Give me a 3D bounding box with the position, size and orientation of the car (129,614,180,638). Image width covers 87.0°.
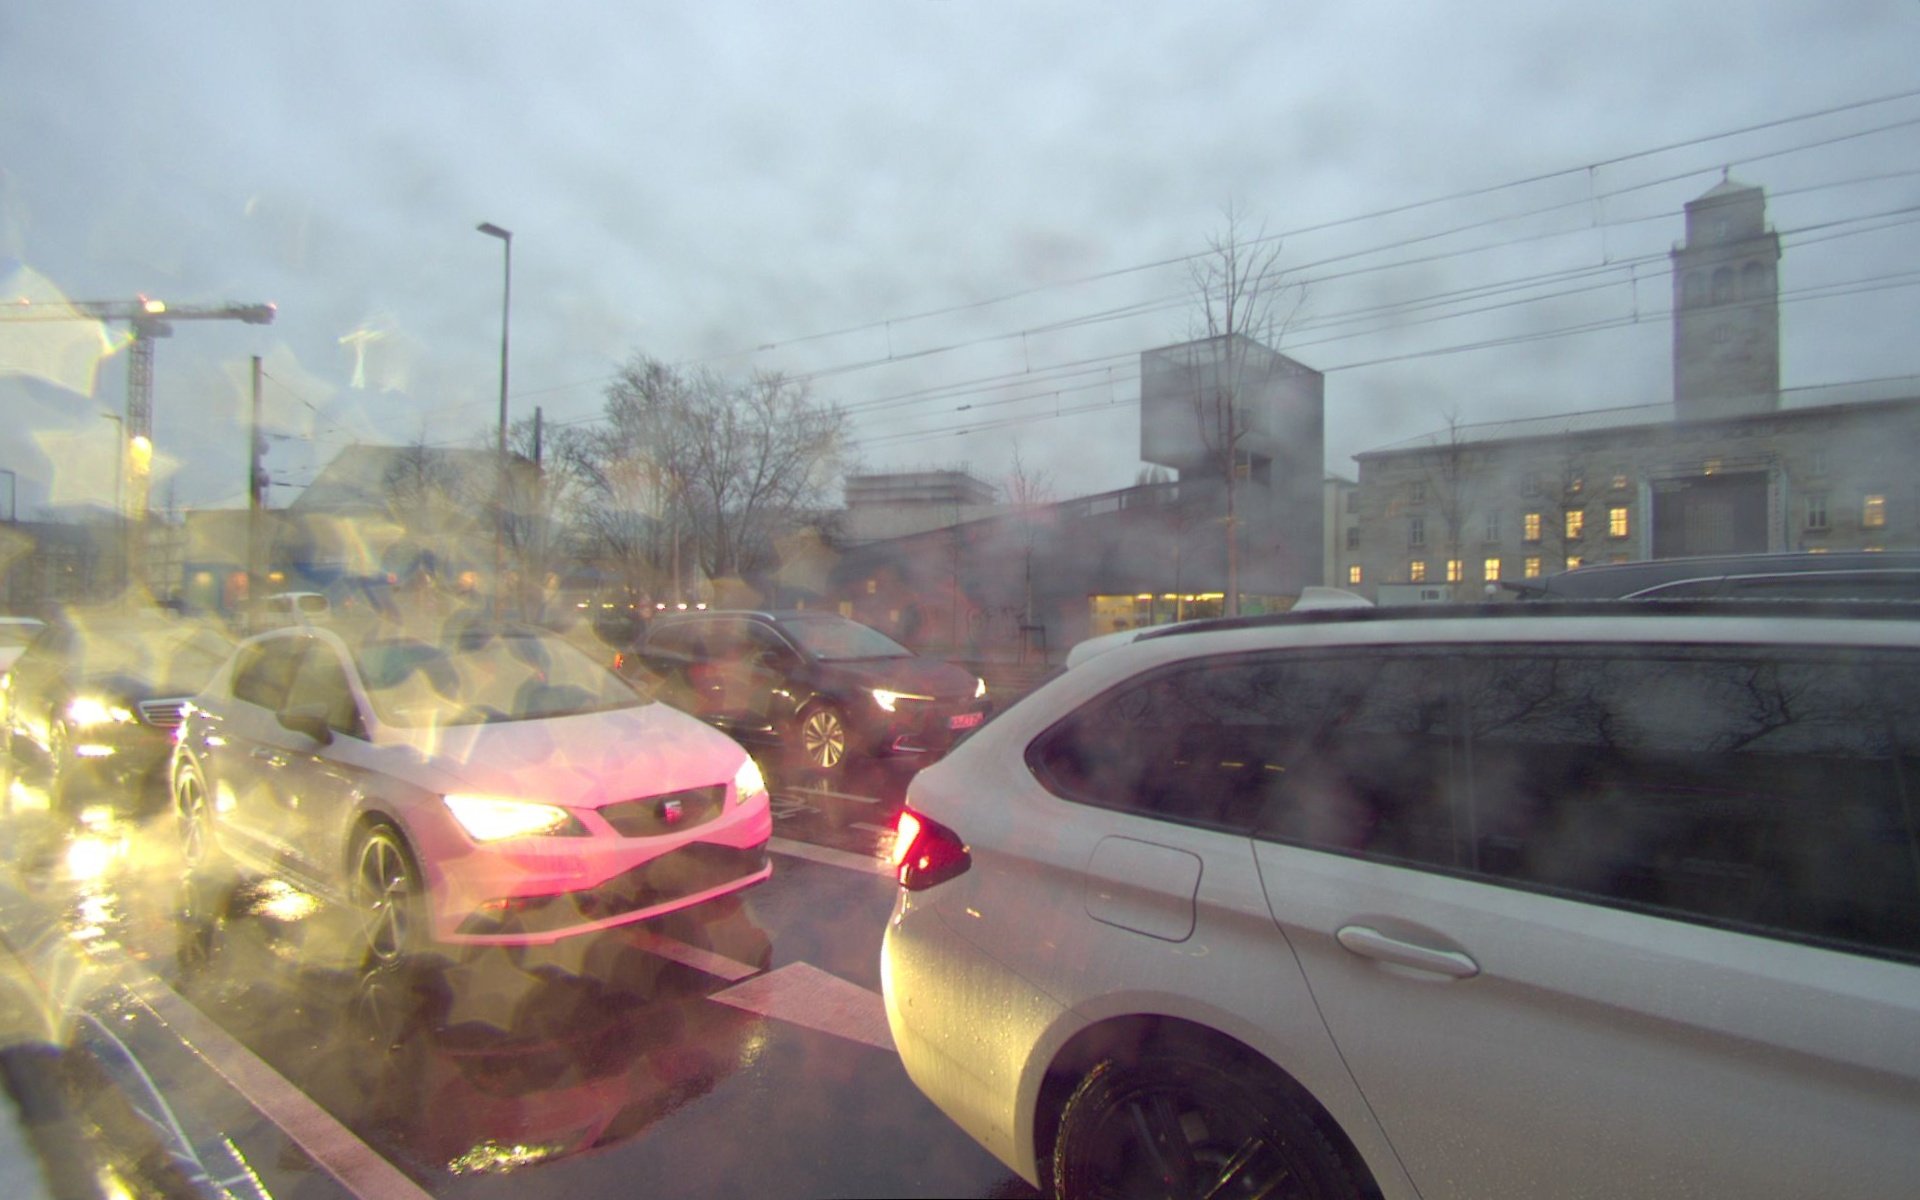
[{"bbox_3d":[-64.221,2.058,80.700,3.989,1.910,2.072,-1,-2,34],"label":"car"}]

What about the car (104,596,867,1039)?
[{"bbox_3d":[-2.835,0.772,5.587,4.497,1.498,1.926,-1,0,37],"label":"car"}]

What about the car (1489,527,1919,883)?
[{"bbox_3d":[5.225,0.476,5.006,4.289,1.596,1.946,-1,-1,42],"label":"car"}]

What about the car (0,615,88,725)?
[{"bbox_3d":[-15.527,1.053,16.170,3.998,1.586,1.882,-1,0,41],"label":"car"}]

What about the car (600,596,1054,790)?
[{"bbox_3d":[-1.501,0.753,10.130,4.659,1.519,1.830,0,-1,39],"label":"car"}]

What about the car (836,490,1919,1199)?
[{"bbox_3d":[2.080,0.636,1.645,4.557,1.498,1.996,-1,-2,41],"label":"car"}]

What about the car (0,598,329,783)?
[{"bbox_3d":[-8.457,0.789,10.435,4.501,1.498,1.974,-1,-2,39],"label":"car"}]
